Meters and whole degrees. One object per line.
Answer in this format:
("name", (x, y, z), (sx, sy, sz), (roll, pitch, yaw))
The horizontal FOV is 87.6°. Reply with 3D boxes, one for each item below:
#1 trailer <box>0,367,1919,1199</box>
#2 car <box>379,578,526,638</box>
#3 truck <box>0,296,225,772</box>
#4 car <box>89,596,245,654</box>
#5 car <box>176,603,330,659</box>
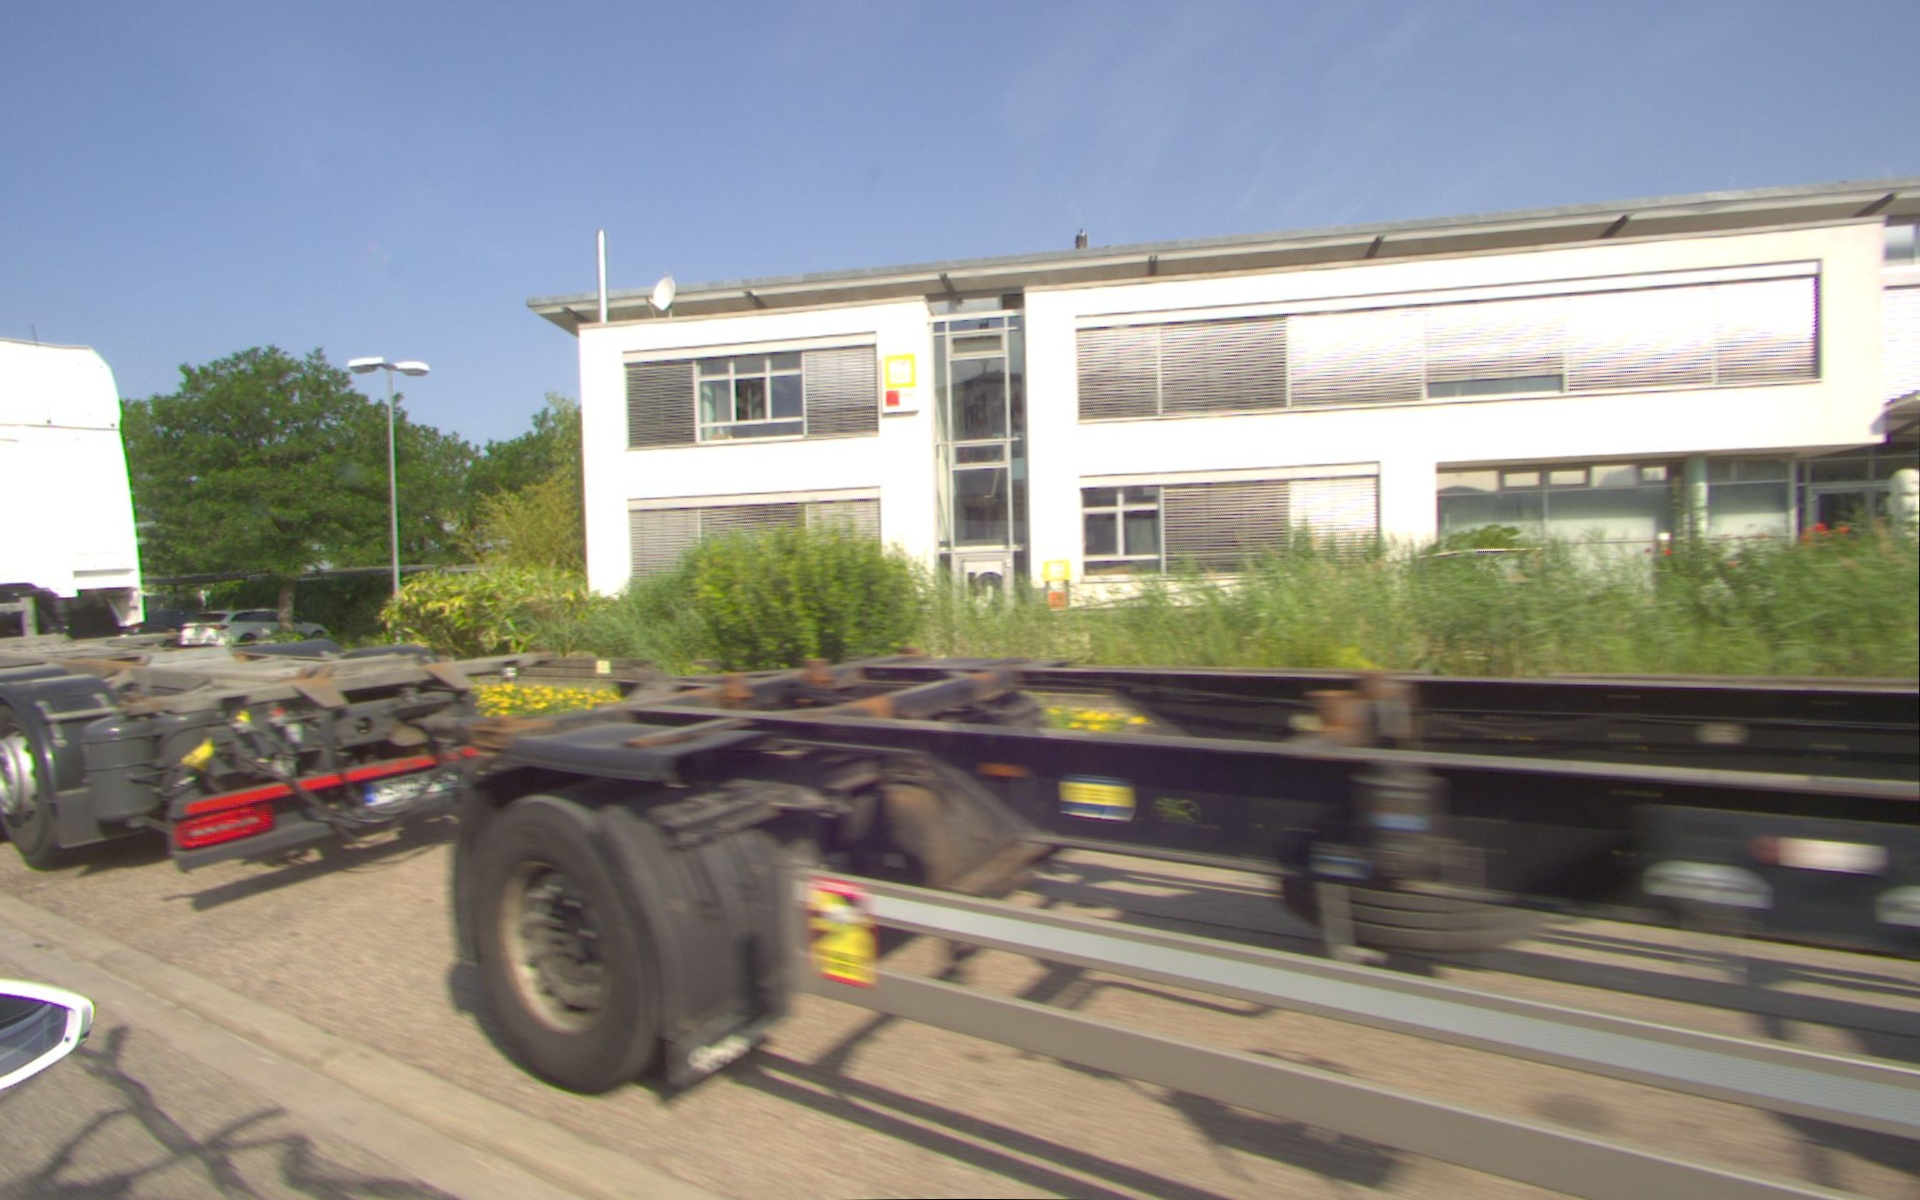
("trailer", (-2.178, 0.564, 4.889), (15.945, 1.595, 2.738), (-1, 3, 33))
("car", (-15.672, 0.295, 31.165), (1.793, 1.727, 3.995), (-2, -2, 17))
("truck", (-9.720, -0.533, 9.691), (3.944, 4.037, 2.737), (-1, 3, 33))
("car", (-26.391, 0.868, 33.518), (1.961, 1.789, 4.002), (-1, -2, 2))
("car", (-23.189, 1.028, 33.033), (1.732, 1.723, 4.087), (-1, -2, 12))
